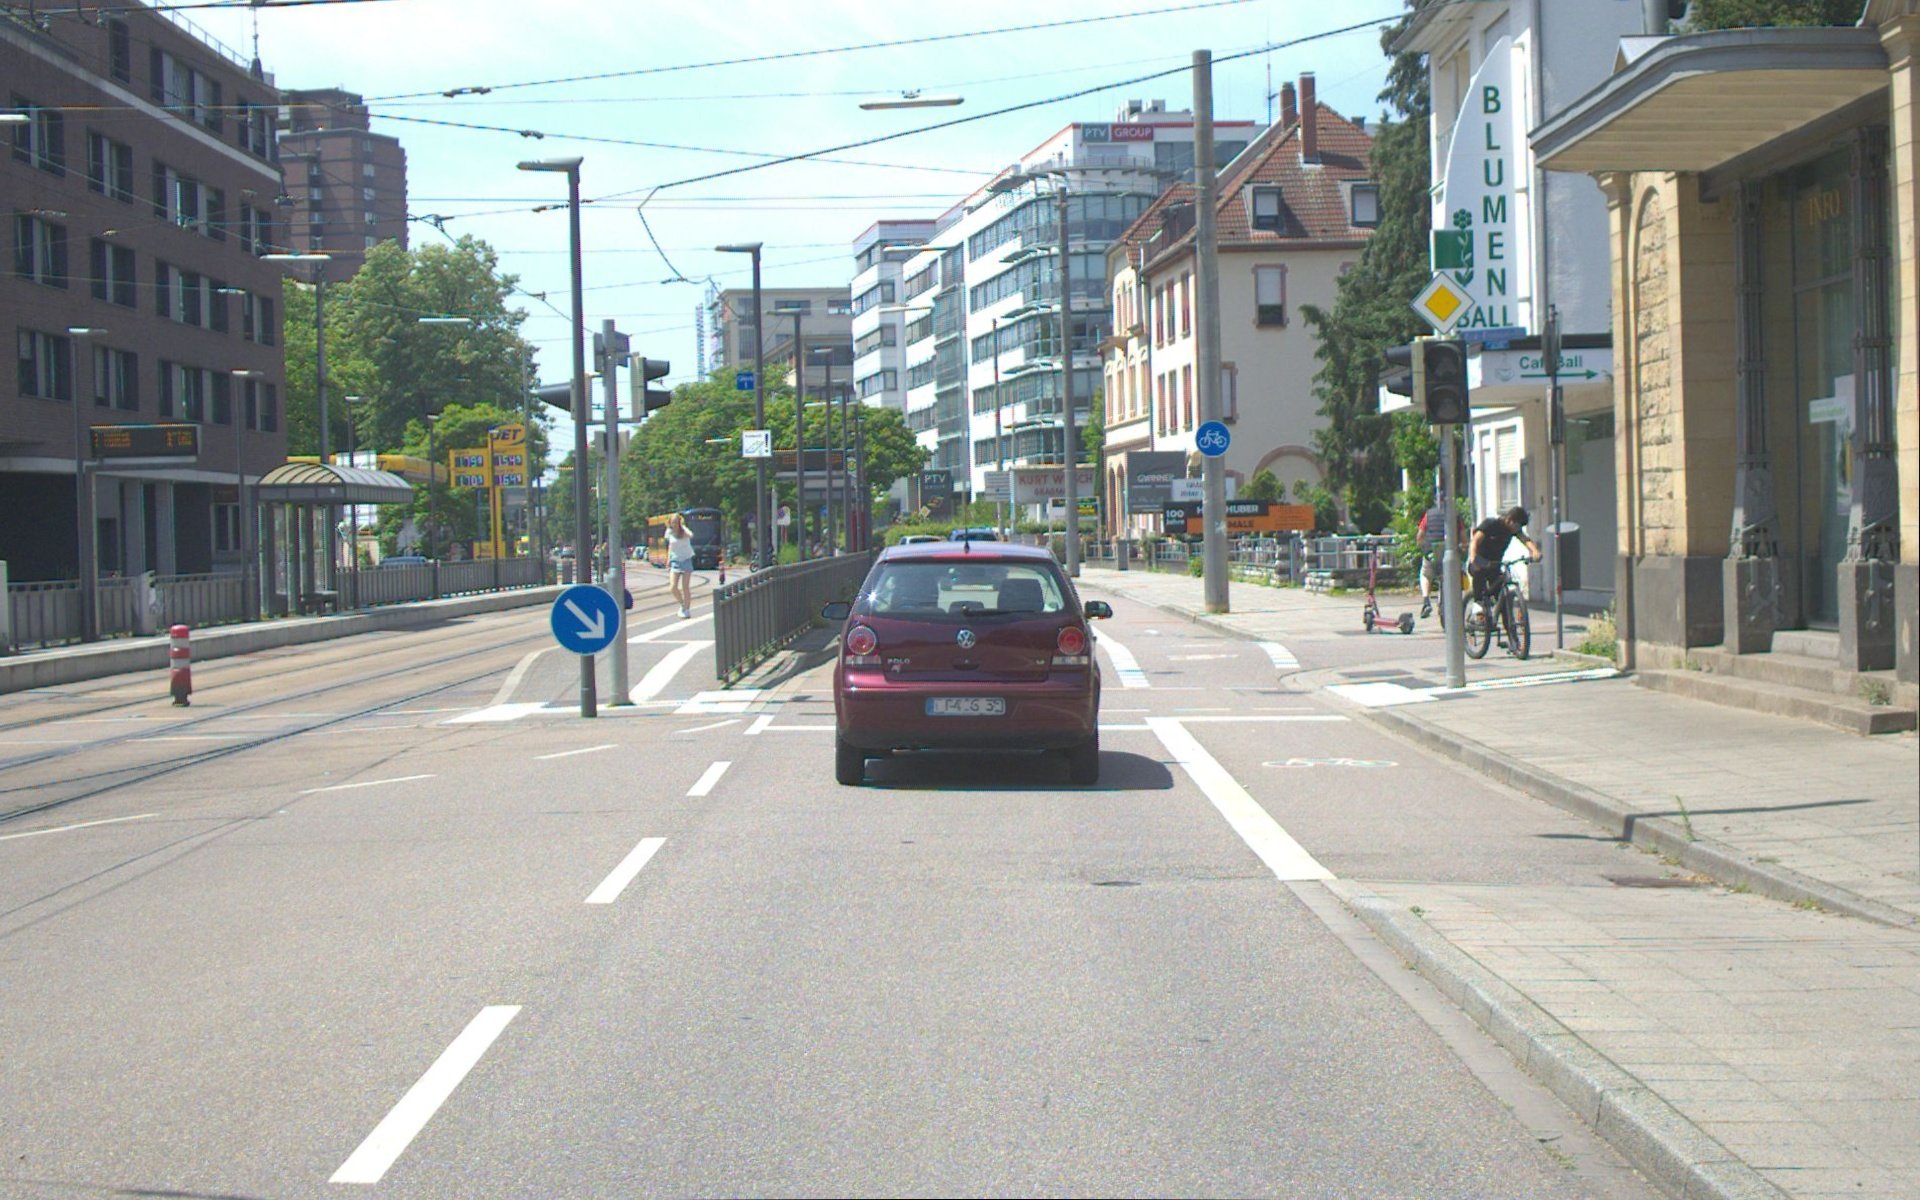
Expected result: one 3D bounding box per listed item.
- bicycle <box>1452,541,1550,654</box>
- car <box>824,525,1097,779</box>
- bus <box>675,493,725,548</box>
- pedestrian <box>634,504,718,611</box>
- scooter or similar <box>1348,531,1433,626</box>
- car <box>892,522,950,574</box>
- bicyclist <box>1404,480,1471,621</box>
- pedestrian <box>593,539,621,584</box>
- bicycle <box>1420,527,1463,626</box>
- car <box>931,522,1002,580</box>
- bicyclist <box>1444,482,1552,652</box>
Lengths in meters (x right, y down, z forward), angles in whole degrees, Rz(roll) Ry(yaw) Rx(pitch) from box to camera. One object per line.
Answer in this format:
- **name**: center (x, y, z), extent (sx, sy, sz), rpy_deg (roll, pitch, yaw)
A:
- **bicycle**: center (5.406, -0.041, 34.445), extent (0.668, 0.999, 1.864), rpy_deg (-5, 2, 2)
- **car**: center (-0.015, 0.279, 21.709), extent (1.561, 1.448, 3.062), rpy_deg (-2, 1, -1)
- **bus**: center (-14.798, -4.507, 195.389), extent (2.144, 2.992, 6.575), rpy_deg (-2, 1, -10)
- **pedestrian**: center (-4.506, -0.678, 54.542), extent (1.097, 1.669, 0.766), rpy_deg (-2, 1, -26)
- **scooter or similar**: center (5.455, -0.272, 43.667), extent (0.339, 1.174, 1.468), rpy_deg (-2, 1, -24)
- **car**: center (-1.478, -1.956, 129.054), extent (1.993, 1.842, 4.001), rpy_deg (-2, 1, -3)
- **bicyclist**: center (6.070, -0.639, 43.661), extent (0.727, 1.754, 0.923), rpy_deg (-1, 1, 12)
- **pedestrian**: center (-15.998, -1.731, 155.915), extent (1.109, 2.007, 1.039), rpy_deg (-1, 1, 1)
- **bicycle**: center (6.093, -0.308, 43.436), extent (0.375, 1.193, 1.904), rpy_deg (-1, 1, 12)
- **car**: center (0.191, -1.447, 101.415), extent (1.993, 1.619, 4.632), rpy_deg (-2, 1, 0)
- **bicyclist**: center (5.399, -0.343, 34.541), extent (0.832, 1.612, 0.860), rpy_deg (-5, 2, 2)
